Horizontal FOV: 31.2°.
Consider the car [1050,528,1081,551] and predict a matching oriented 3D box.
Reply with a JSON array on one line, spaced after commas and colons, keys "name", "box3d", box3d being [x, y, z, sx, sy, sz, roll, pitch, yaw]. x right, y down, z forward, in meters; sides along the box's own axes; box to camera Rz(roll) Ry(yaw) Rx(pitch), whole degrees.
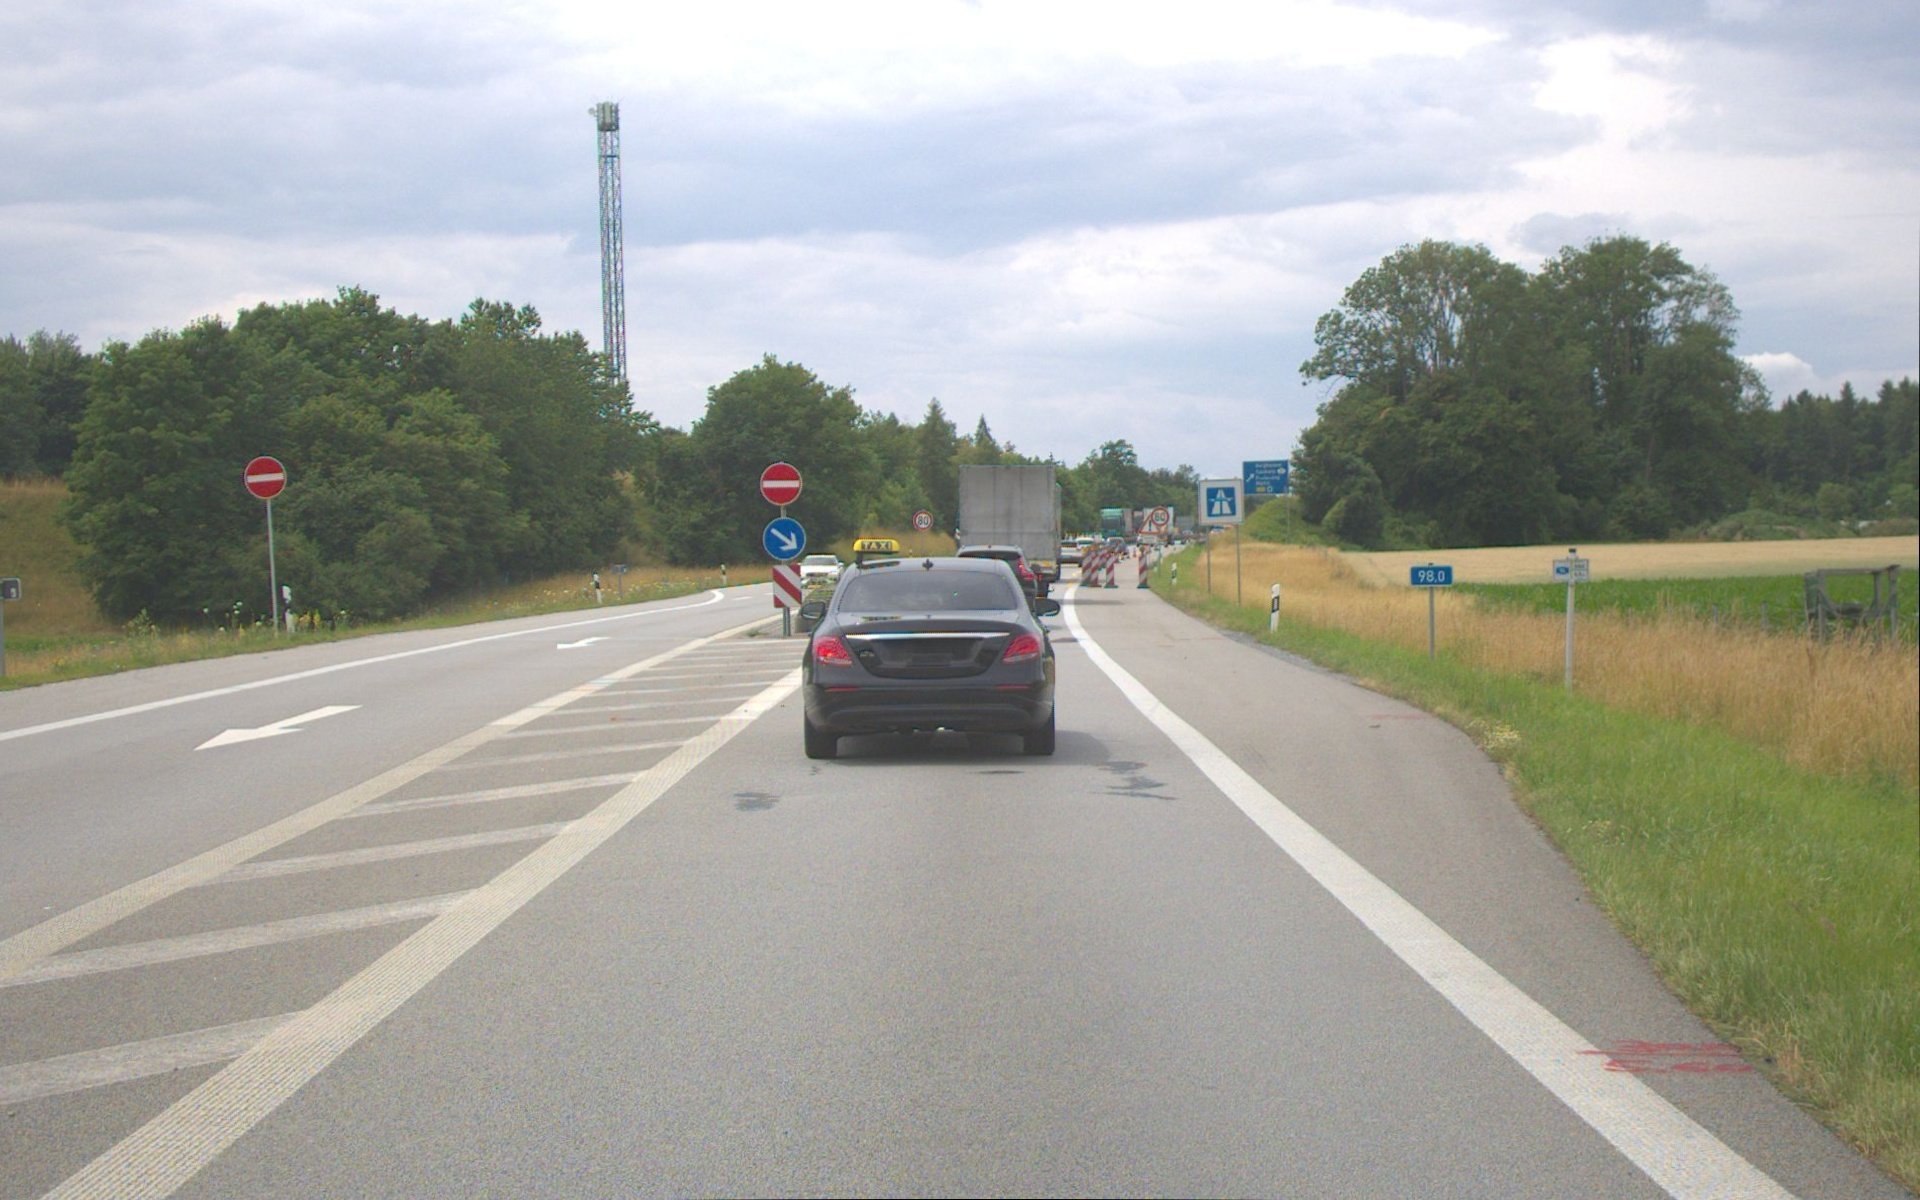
[{"name": "car", "box3d": [6.361, -3.653, 207.275, 1.649, 1.391, 3.706, 0, 1, -1]}]

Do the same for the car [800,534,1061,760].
[{"name": "car", "box3d": [-0.167, 0.305, 25.800, 1.796, 1.554, 4.000, 0, 1, 1]}]

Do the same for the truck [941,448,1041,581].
[{"name": "truck", "box3d": [0.866, -2.293, 93.345, 2.587, 3.512, 4.812, 0, 1, 2]}]

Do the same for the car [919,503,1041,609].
[{"name": "car", "box3d": [0.358, -0.864, 67.763, 1.993, 2.007, 4.001, 0, 1, -6]}]
